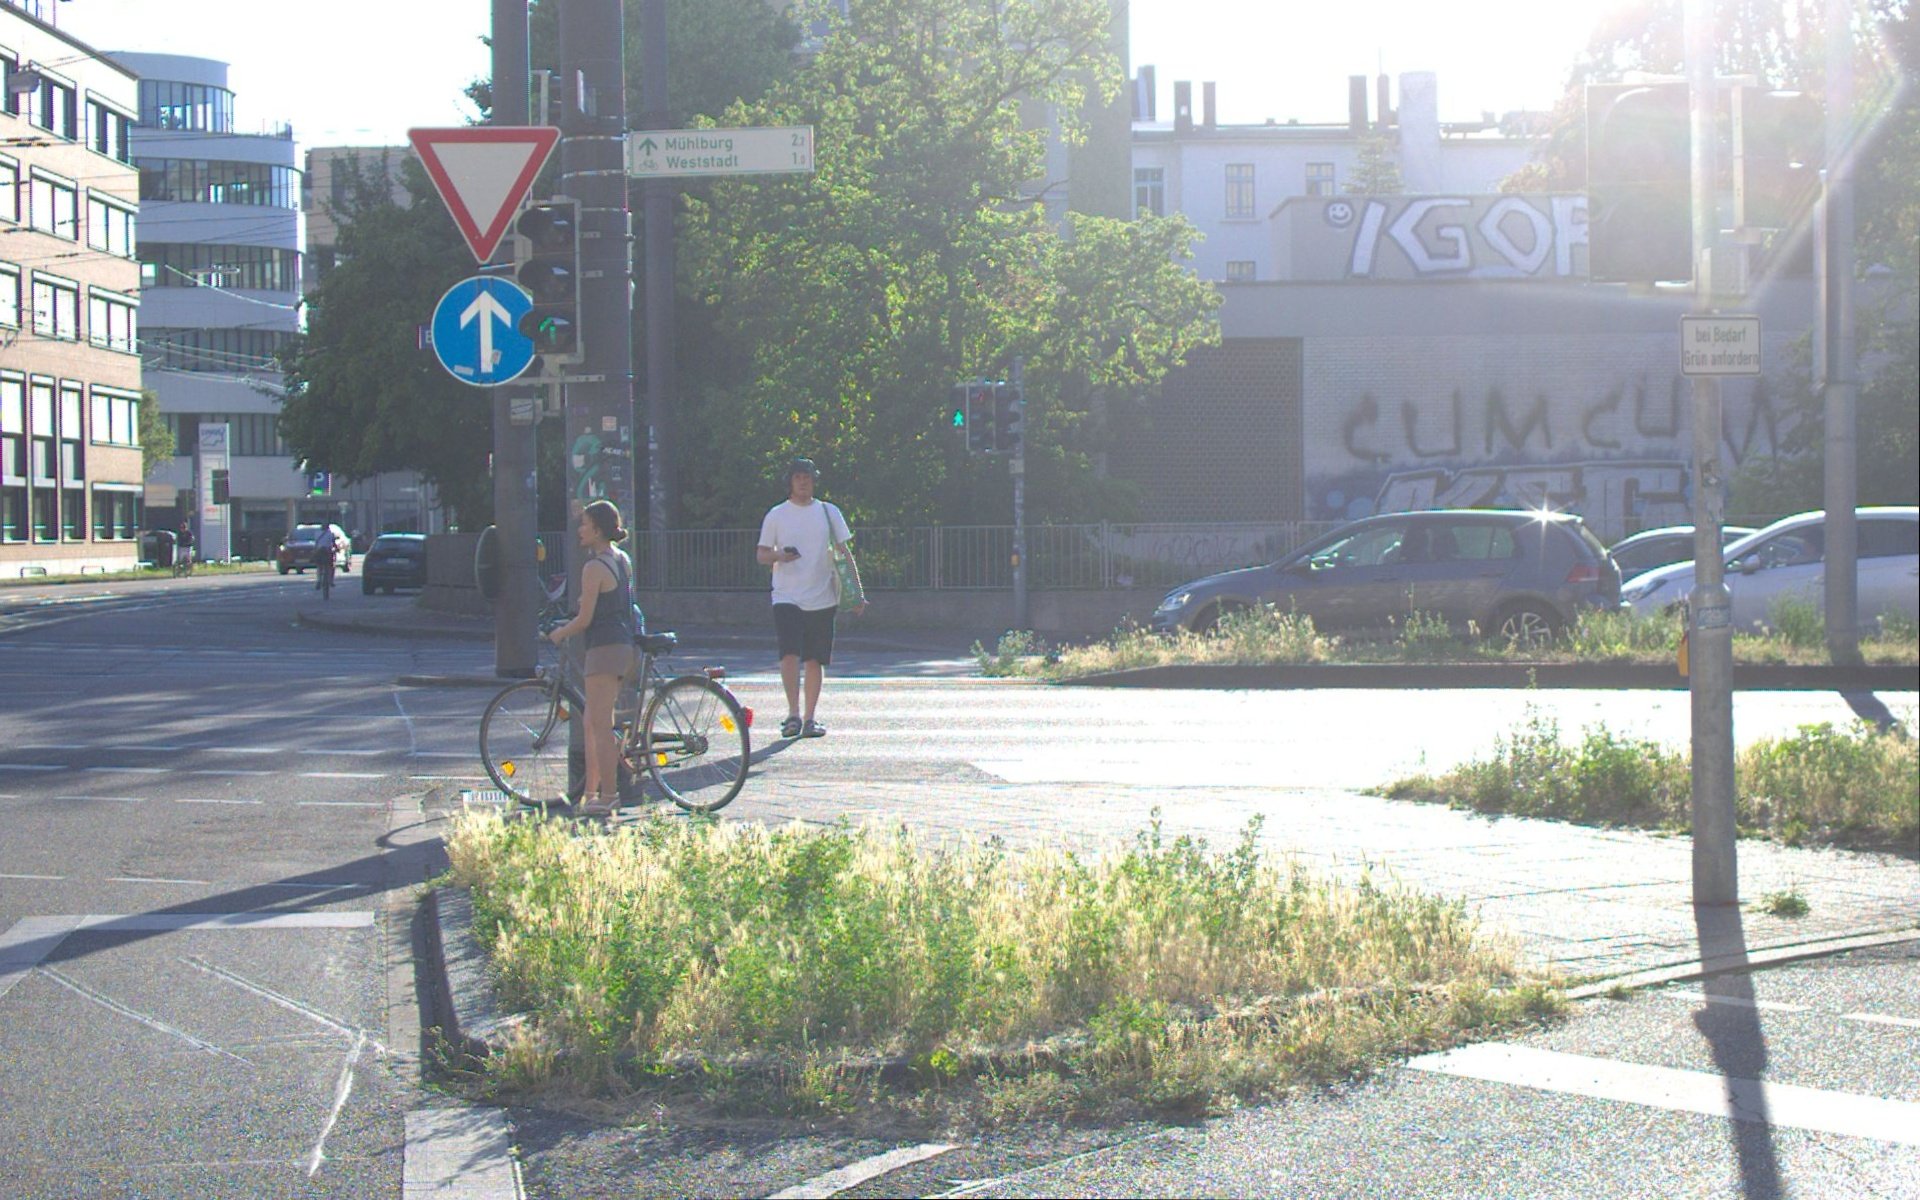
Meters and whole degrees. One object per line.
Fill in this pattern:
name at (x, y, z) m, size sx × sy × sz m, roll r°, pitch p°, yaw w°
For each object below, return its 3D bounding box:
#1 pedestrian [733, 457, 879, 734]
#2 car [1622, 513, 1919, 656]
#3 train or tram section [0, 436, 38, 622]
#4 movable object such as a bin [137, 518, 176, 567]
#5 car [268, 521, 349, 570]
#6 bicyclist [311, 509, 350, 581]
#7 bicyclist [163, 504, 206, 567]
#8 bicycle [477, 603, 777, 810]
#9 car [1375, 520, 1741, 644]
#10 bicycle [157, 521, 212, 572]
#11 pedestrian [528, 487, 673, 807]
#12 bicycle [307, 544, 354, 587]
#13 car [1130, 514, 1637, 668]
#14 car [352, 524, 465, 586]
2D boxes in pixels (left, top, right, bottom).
pedestrian at (-1.008, -0.035, 22.722) m, size 0.908 × 1.783 × 0.827 m, roll -1°, pitch 1°, yaw -1°
car at (8.404, -0.170, 33.129) m, size 3.884 × 1.314 × 1.723 m, roll -1°, pitch 1°, yaw 14°
train or tram section at (-19.289, -1.250, 61.870) m, size 2.860 × 3.495 × 11.299 m, roll -1°, pitch 1°, yaw -3°
movable object such as a bin at (-26.987, -1.930, 115.439) m, size 1.066 × 1.623 × 0.889 m, roll -1°, pitch 1°, yaw 0°
car at (-22.328, -1.892, 117.962) m, size 1.815 × 1.609 × 4.465 m, roll -1°, pitch 1°, yaw 1°
bicyclist at (-13.411, -1.168, 73.246) m, size 0.673 × 1.517 × 0.814 m, roll -1°, pitch 1°, yaw -2°
bicyclist at (-25.214, -2.093, 111.800) m, size 1.030 × 2.007 × 1.247 m, roll 1°, pitch 0°, yaw 3°
bicycle at (-1.742, 0.535, 17.872) m, size 1.670 × 1.025 × 0.399 m, roll 0°, pitch 1°, yaw 35°
car at (6.641, -0.205, 38.080) m, size 3.884 × 1.292 × 1.723 m, roll -1°, pitch 1°, yaw 14°
bicycle at (-25.237, -1.748, 111.939) m, size 1.030 × 1.645 × 2.560 m, roll -1°, pitch 1°, yaw 4°
pedestrian at (-1.861, 0.231, 17.802) m, size 0.525 × 1.626 × 0.488 m, roll 0°, pitch 1°, yaw 34°
bicycle at (-13.405, -0.743, 73.228) m, size 0.695 × 0.874 × 2.027 m, roll -1°, pitch 1°, yaw -2°
car at (3.797, -0.082, 30.675) m, size 4.238 × 1.292 × 1.723 m, roll 0°, pitch 1°, yaw 17°
car at (-12.949, -1.068, 80.873) m, size 1.785 × 1.383 × 4.000 m, roll -1°, pitch 1°, yaw 3°
